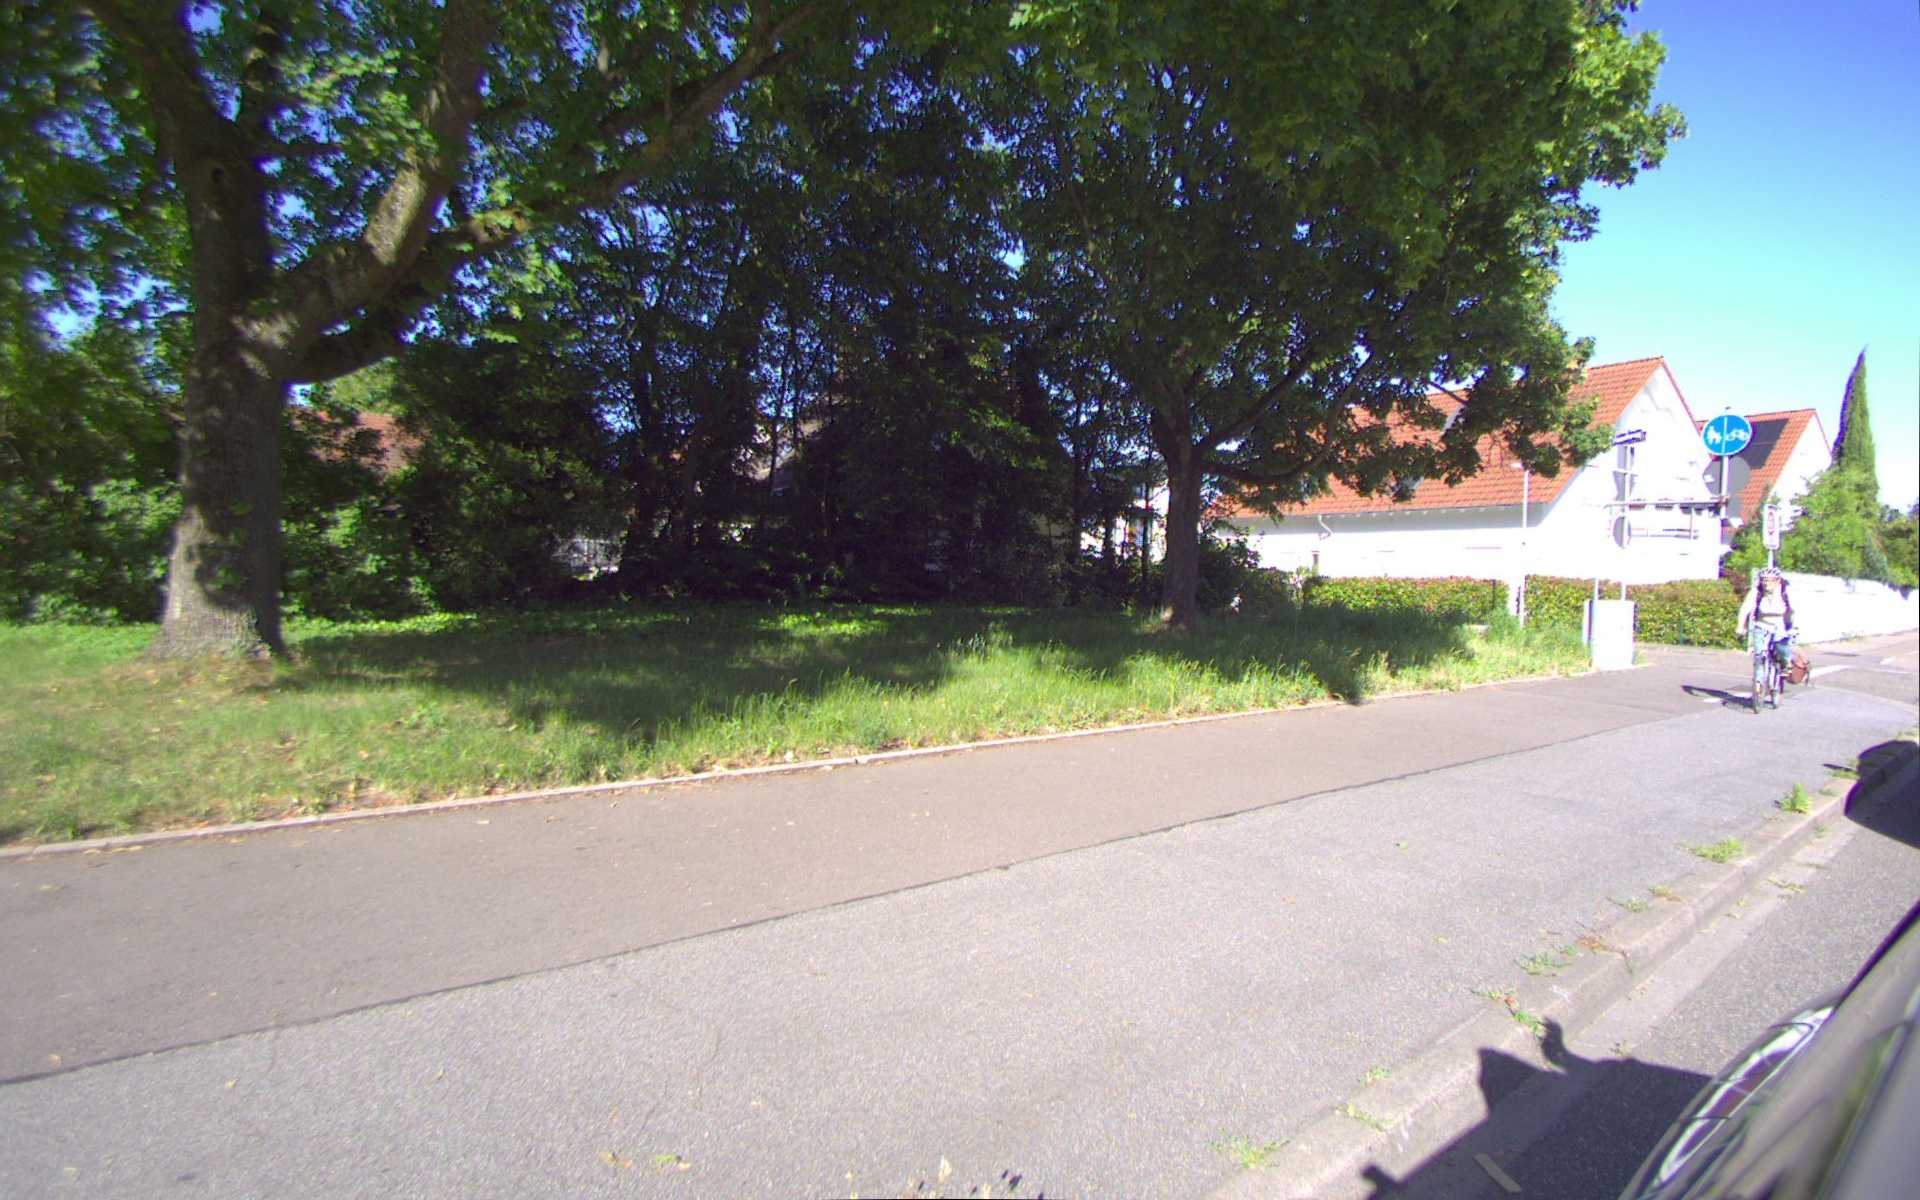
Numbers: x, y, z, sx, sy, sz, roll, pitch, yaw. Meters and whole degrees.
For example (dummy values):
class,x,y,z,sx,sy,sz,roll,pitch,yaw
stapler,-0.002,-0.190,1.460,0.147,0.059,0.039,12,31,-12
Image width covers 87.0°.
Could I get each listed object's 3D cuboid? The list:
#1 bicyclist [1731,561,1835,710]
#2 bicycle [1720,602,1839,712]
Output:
class,x,y,z,sx,sy,sz,roll,pitch,yaw
bicyclist,9.761,0.398,12.001,0.964,1.652,0.632,1,4,-38
bicycle,9.788,0.649,12.061,2.101,1.169,0.576,1,4,-38
